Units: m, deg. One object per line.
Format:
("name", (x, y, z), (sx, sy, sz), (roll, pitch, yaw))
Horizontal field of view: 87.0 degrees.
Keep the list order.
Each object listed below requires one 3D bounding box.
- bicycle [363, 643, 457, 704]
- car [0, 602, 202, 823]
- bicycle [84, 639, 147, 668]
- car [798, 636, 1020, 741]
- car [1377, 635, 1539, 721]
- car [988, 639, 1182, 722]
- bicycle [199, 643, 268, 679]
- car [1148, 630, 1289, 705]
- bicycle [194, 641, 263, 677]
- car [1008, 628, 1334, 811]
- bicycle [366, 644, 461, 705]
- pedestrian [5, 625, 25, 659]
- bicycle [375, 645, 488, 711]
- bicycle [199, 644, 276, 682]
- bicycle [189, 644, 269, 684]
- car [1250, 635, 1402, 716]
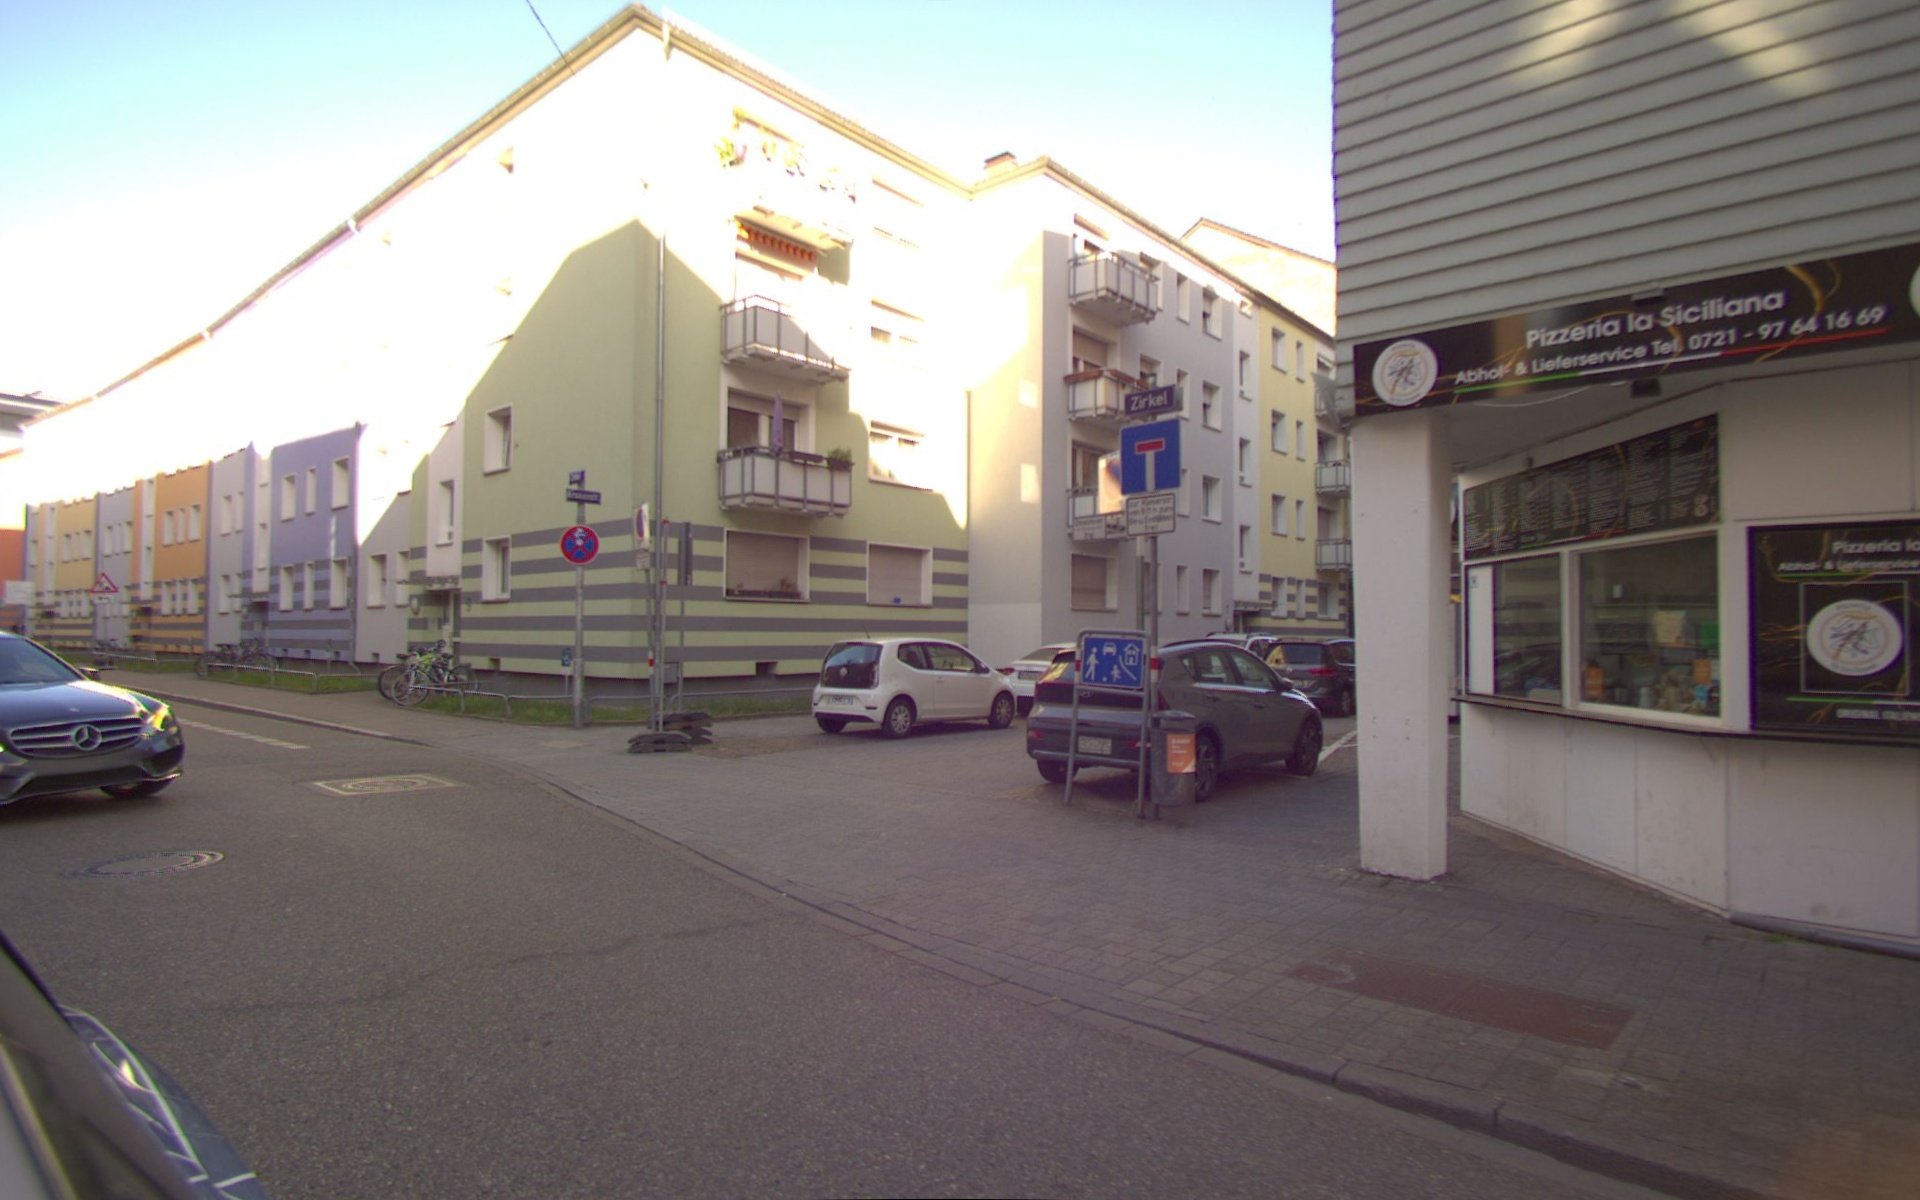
("bicycle", (-11.586, 1.522, 21.360), (0.387, 1.109, 1.719), (-2, 1, 34))
("car", (-8.667, 0.906, 8.350), (4.641, 1.490, 1.773), (-3, 1, 24))
("bicycle", (-33.426, 2.100, 40.090), (0.653, 0.990, 1.786), (-2, 2, 37))
("car", (-0.726, 1.297, 15.907), (1.724, 1.448, 3.300), (-2, -2, 40))
("car", (9.881, 1.474, 19.960), (1.787, 1.493, 3.858), (-4, -4, 43))
("car", (2.553, 1.482, 19.799), (1.758, 1.408, 4.271), (-1, -2, 40))
("bicycle", (-22.022, 1.837, 30.707), (0.388, 0.953, 1.636), (-2, 1, 41))
("car", (6.258, 1.555, 24.178), (1.757, 1.623, 4.094), (-3, -4, 38))
("bicycle", (-22.356, 1.787, 30.944), (0.388, 0.953, 1.636), (-2, 1, 41))
("car", (2.341, 1.062, 10.515), (1.691, 1.531, 3.892), (-2, -2, 40))
("bicycle", (-11.334, 1.523, 21.033), (0.387, 1.109, 1.719), (-2, 1, 34))
("pedestrian", (-46.471, 2.052, 49.779), (0.447, 1.663, 0.605), (-1, -2, 35))
("bicycle", (-10.387, 1.501, 19.935), (0.749, 1.109, 1.797), (-2, 1, 41))
("bicycle", (-21.206, 1.825, 29.732), (0.388, 0.953, 1.780), (-2, 1, 41))
("bicycle", (-20.925, 1.819, 28.999), (0.388, 0.953, 1.780), (-2, 1, 41))
("car", (8.024, 1.548, 21.993), (1.785, 1.580, 4.114), (-2, -3, 40))
